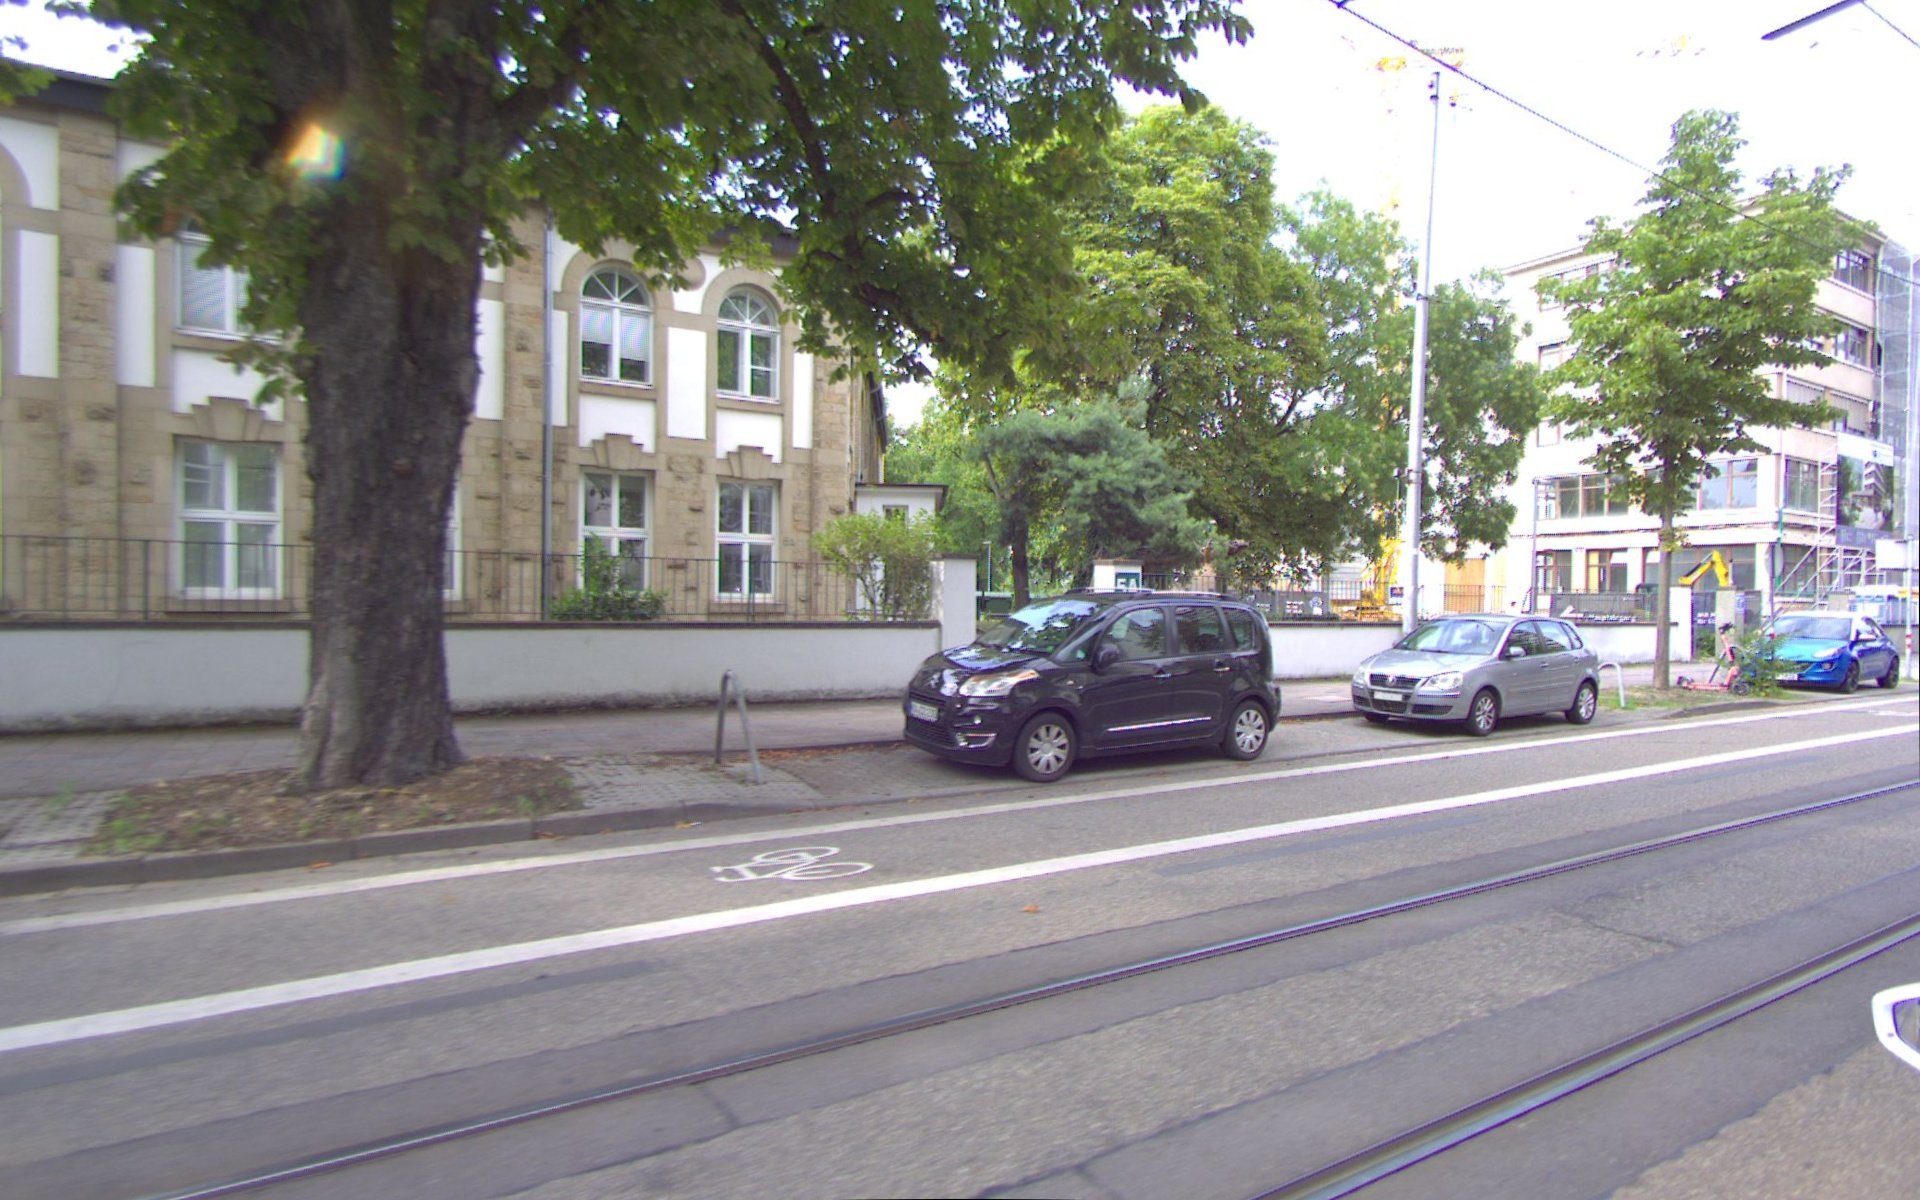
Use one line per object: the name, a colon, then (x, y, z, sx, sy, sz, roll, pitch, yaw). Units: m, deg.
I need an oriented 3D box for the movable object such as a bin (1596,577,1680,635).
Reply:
movable object such as a bin: (25.634, 0.220, 37.999, 1.936, 2.095, 1.978, 1, 1, -29)

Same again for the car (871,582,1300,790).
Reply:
car: (1.306, 0.707, 9.952, 4.007, 1.669, 1.746, 1, 1, -32)

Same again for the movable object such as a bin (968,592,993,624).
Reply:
movable object such as a bin: (0.919, 0.347, 45.484, 1.001, 1.393, 0.970, 1, 1, -5)

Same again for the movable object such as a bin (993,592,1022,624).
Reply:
movable object such as a bin: (2.141, 0.369, 45.521, 1.181, 1.393, 0.970, 1, 1, -5)

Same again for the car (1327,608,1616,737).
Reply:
car: (6.845, 0.860, 13.359, 3.825, 1.447, 1.684, 1, 1, -32)

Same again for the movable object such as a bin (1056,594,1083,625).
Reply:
movable object such as a bin: (4.980, 0.418, 45.684, 1.073, 1.393, 0.860, 1, 1, -5)

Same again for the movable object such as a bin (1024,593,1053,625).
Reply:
movable object such as a bin: (3.557, 0.392, 45.691, 1.181, 1.393, 0.860, 1, 1, -5)

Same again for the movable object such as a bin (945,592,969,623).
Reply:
movable object such as a bin: (-0.149, 0.329, 45.418, 1.001, 1.393, 0.970, 1, 1, -5)

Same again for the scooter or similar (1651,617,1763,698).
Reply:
scooter or similar: (13.103, 0.972, 17.657, 0.691, 1.362, 1.437, 0, -1, -29)

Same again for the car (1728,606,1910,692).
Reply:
car: (16.928, 0.902, 19.769, 3.636, 1.507, 1.684, 1, 1, -32)
